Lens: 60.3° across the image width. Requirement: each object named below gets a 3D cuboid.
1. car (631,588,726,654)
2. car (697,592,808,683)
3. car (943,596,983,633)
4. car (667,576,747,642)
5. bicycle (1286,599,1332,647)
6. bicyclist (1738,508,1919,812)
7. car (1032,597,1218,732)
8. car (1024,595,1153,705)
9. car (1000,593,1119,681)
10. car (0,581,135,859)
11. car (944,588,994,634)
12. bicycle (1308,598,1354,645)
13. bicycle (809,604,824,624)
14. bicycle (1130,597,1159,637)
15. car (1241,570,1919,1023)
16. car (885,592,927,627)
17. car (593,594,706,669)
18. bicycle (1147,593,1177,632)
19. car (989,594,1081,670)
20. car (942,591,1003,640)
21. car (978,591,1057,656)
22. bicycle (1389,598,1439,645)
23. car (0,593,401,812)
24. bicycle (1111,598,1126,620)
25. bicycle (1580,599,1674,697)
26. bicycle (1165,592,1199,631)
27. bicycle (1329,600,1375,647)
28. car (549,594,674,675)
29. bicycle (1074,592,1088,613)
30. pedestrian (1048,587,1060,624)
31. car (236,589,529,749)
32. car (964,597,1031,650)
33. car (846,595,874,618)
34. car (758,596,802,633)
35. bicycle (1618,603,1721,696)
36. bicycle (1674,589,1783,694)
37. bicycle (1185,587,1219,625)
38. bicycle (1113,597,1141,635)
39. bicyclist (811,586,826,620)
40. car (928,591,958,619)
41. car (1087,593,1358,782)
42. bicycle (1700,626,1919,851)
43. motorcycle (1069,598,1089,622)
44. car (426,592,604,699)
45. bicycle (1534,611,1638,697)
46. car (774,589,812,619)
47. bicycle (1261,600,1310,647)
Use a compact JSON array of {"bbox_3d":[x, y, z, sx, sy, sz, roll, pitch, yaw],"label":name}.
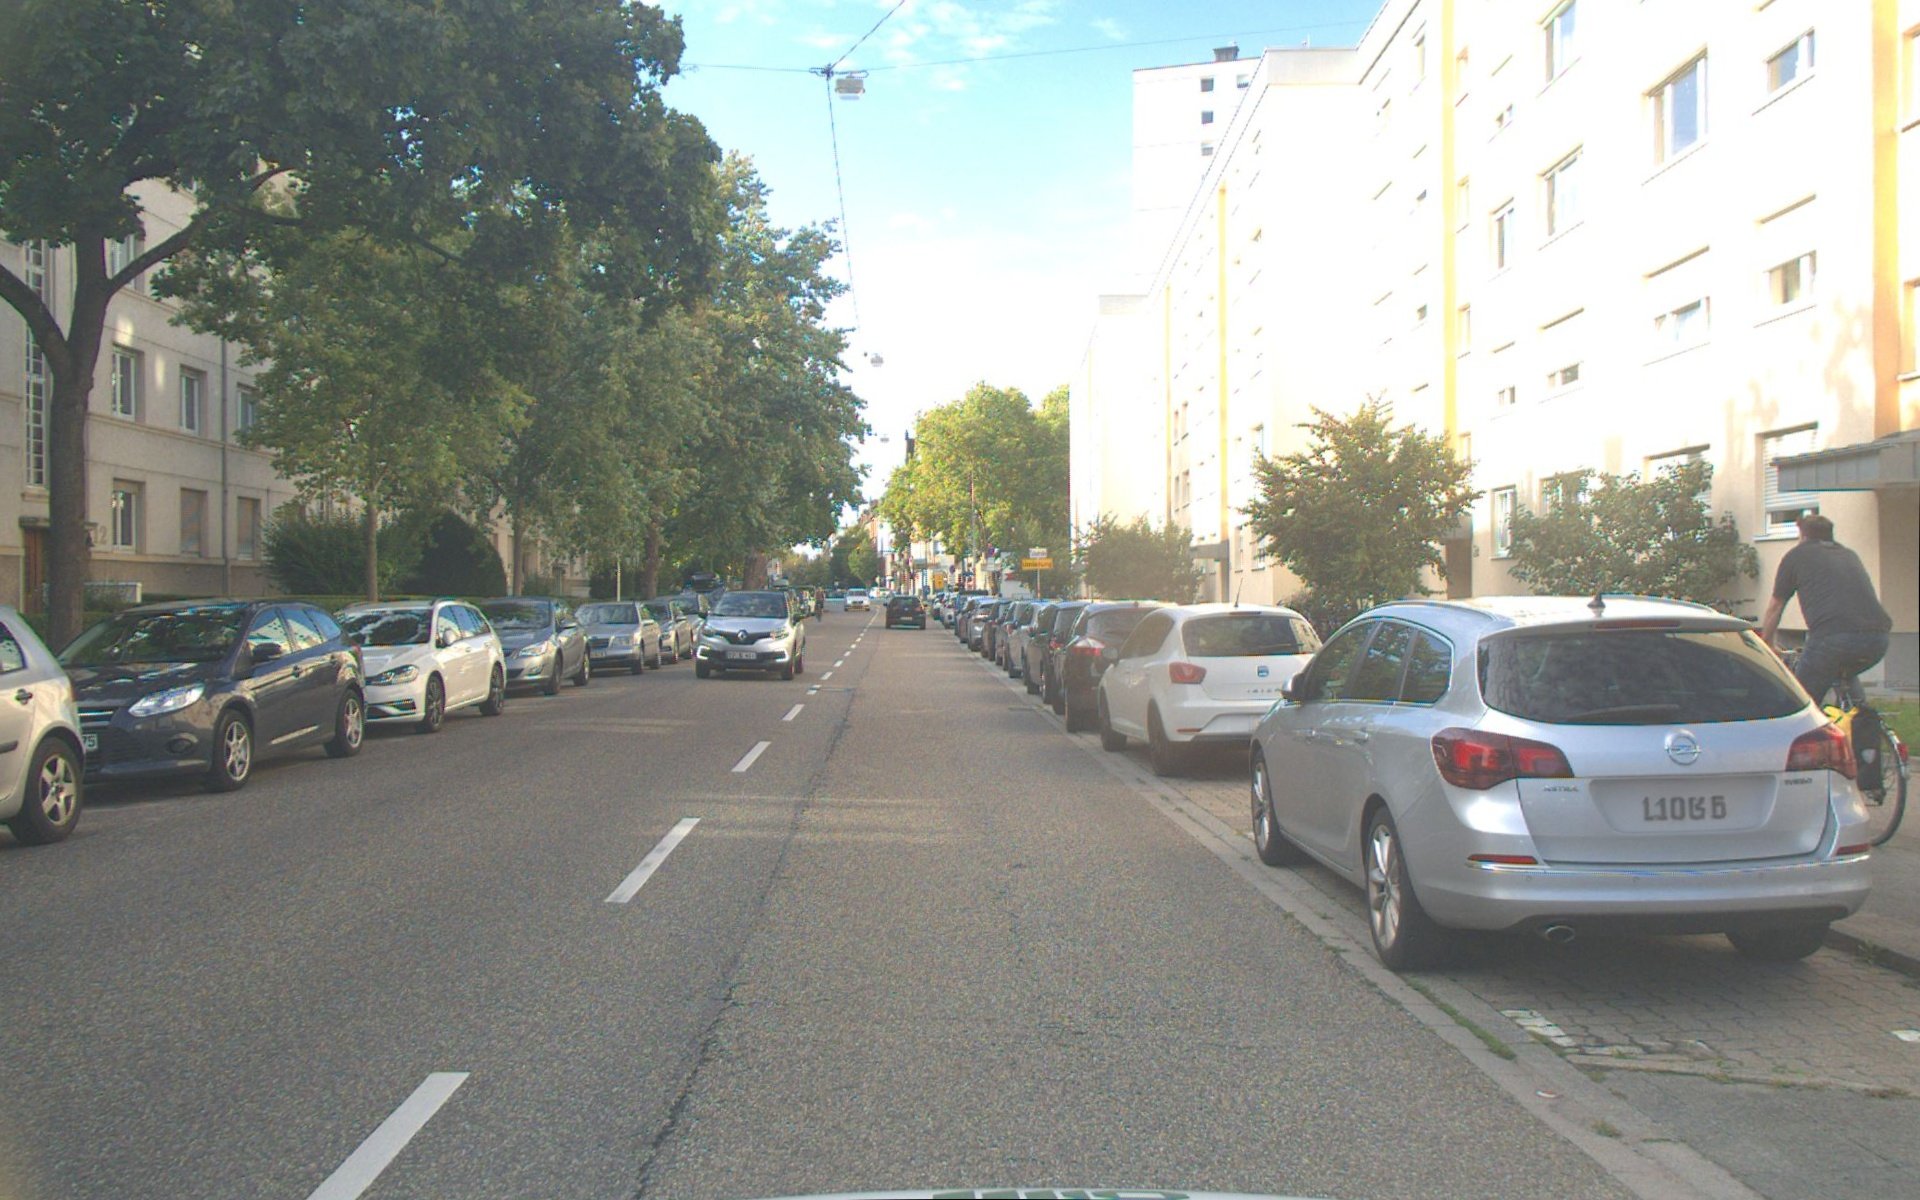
[{"bbox_3d":[-7.399,0.506,43.904,1.818,1.600,4.459,-2,0,-1],"label":"car"},{"bbox_3d":[-3.714,0.635,30.135,1.705,1.528,4.007,-1,0,-3],"label":"car"},{"bbox_3d":[0.114,0.623,73.776,1.693,1.513,4.640,-1,0,-1],"label":"car"},{"bbox_3d":[-7.540,0.237,49.756,1.840,1.824,4.967,-2,1,-3],"label":"car"},{"bbox_3d":[8.186,0.526,38.861,0.491,1.048,2.094,-3,0,-2],"label":"bicycle"},{"bbox_3d":[5.108,0.333,9.740,0.611,1.707,0.892,0,0,-3],"label":"bicyclist"},{"bbox_3d":[1.958,0.725,20.771,1.650,1.460,4.203,-1,0,-4],"label":"car"},{"bbox_3d":[1.915,0.707,25.631,1.649,1.527,3.873,-1,0,0],"label":"car"},{"bbox_3d":[1.796,0.636,31.068,1.666,1.489,4.176,-1,0,-4],"label":"car"},{"bbox_3d":[-6.126,0.695,8.359,1.784,1.512,4.367,-2,1,-2],"label":"car"},{"bbox_3d":[0.308,0.404,63.784,1.694,1.678,4.114,-1,0,-3],"label":"car"},{"bbox_3d":[8.697,0.501,38.879,0.491,1.048,2.068,-3,0,-2],"label":"bicycle"},{"bbox_3d":[-6.948,0.688,80.264,0.629,0.940,1.857,-1,0,-2],"label":"bicycle"},{"bbox_3d":[6.430,0.579,57.679,0.592,1.313,2.634,-2,0,-2],"label":"bicycle"},{"bbox_3d":[2.606,0.669,7.958,1.727,1.550,4.329,-1,0,0],"label":"car"},{"bbox_3d":[-2.362,0.388,71.472,1.717,1.438,3.997,0,0,-3],"label":"car"},{"bbox_3d":[-7.190,0.686,38.742,1.818,1.512,4.942,-3,1,-2],"label":"car"},{"bbox_3d":[7.022,0.424,57.684,0.583,1.313,2.634,-3,0,-2],"label":"bicycle"},{"bbox_3d":[1.606,0.659,36.499,1.650,1.511,4.291,-1,0,-2],"label":"car"},{"bbox_3d":[0.380,0.499,55.547,1.694,1.542,4.188,-1,0,-4],"label":"car"},{"bbox_3d":[1.399,0.557,41.569,1.628,1.517,3.940,-2,0,-2],"label":"car"},{"bbox_3d":[10.632,0.490,38.820,0.491,1.048,2.134,-3,0,-1],"label":"bicycle"},{"bbox_3d":[-6.355,0.710,13.968,1.818,1.512,4.682,-1,0,-2],"label":"car"},{"bbox_3d":[7.278,0.412,75.870,0.449,0.943,1.516,-1,0,-3],"label":"bicycle"},{"bbox_3d":[8.280,0.592,20.586,0.436,1.156,1.590,-2,-1,-2],"label":"bicycle"},{"bbox_3d":[7.732,0.385,57.718,0.712,1.313,2.634,-1,0,-2],"label":"bicycle"},{"bbox_3d":[9.202,0.535,38.883,0.491,1.048,2.025,-3,0,-2],"label":"bicycle"},{"bbox_3d":[-6.930,0.642,33.317,1.704,1.417,4.663,-3,1,-3],"label":"car"},{"bbox_3d":[6.957,0.134,95.133,0.518,1.134,2.208,-1,0,-2],"label":"bicycle"},{"bbox_3d":[4.423,0.250,77.838,0.530,1.751,0.771,-1,0,3],"label":"pedestrian"},{"bbox_3d":[-6.545,0.687,19.350,1.818,1.511,4.796,-4,1,-2],"label":"car"},{"bbox_3d":[1.038,0.647,47.875,1.628,1.440,4.057,-2,0,-2],"label":"car"},{"bbox_3d":[-7.096,0.439,117.866,1.821,1.555,4.009,0,1,-1],"label":"car"},{"bbox_3d":[-9.123,0.710,84.178,1.763,1.697,4.481,-2,1,-1],"label":"car"},{"bbox_3d":[8.825,0.613,20.631,0.511,1.093,1.590,-2,-1,-2],"label":"bicycle"},{"bbox_3d":[9.532,0.510,20.570,0.511,1.237,1.590,-2,-1,-2],"label":"bicycle"},{"bbox_3d":[8.437,0.202,57.812,0.712,1.313,2.634,1,0,-2],"label":"bicycle"},{"bbox_3d":[5.807,0.541,57.637,0.592,1.313,2.634,-1,0,-2],"label":"bicycle"},{"bbox_3d":[-6.865,0.162,80.290,0.628,1.629,0.989,-1,0,-2],"label":"bicyclist"},{"bbox_3d":[-0.937,0.272,94.516,1.655,1.555,4.237,-1,0,0],"label":"car"},{"bbox_3d":[2.325,0.708,15.687,1.650,1.493,4.203,-1,0,-3],"label":"car"},{"bbox_3d":[5.106,0.751,9.786,0.513,1.155,1.928,0,0,-3],"label":"bicycle"},{"bbox_3d":[5.434,0.449,75.809,0.618,1.063,2.392,-1,0,-3],"label":"motorcycle"},{"bbox_3d":[-6.998,0.652,26.489,1.818,1.512,4.680,-1,0,-4],"label":"car"},{"bbox_3d":[7.737,0.662,20.506,0.584,1.015,1.691,0,-1,-2],"label":"bicycle"},{"bbox_3d":[-9.041,0.189,89.629,1.666,1.512,3.847,-2,1,-1],"label":"car"},{"bbox_3d":[7.608,0.534,38.730,0.581,1.048,2.118,-3,0,-2],"label":"bicycle"}]
